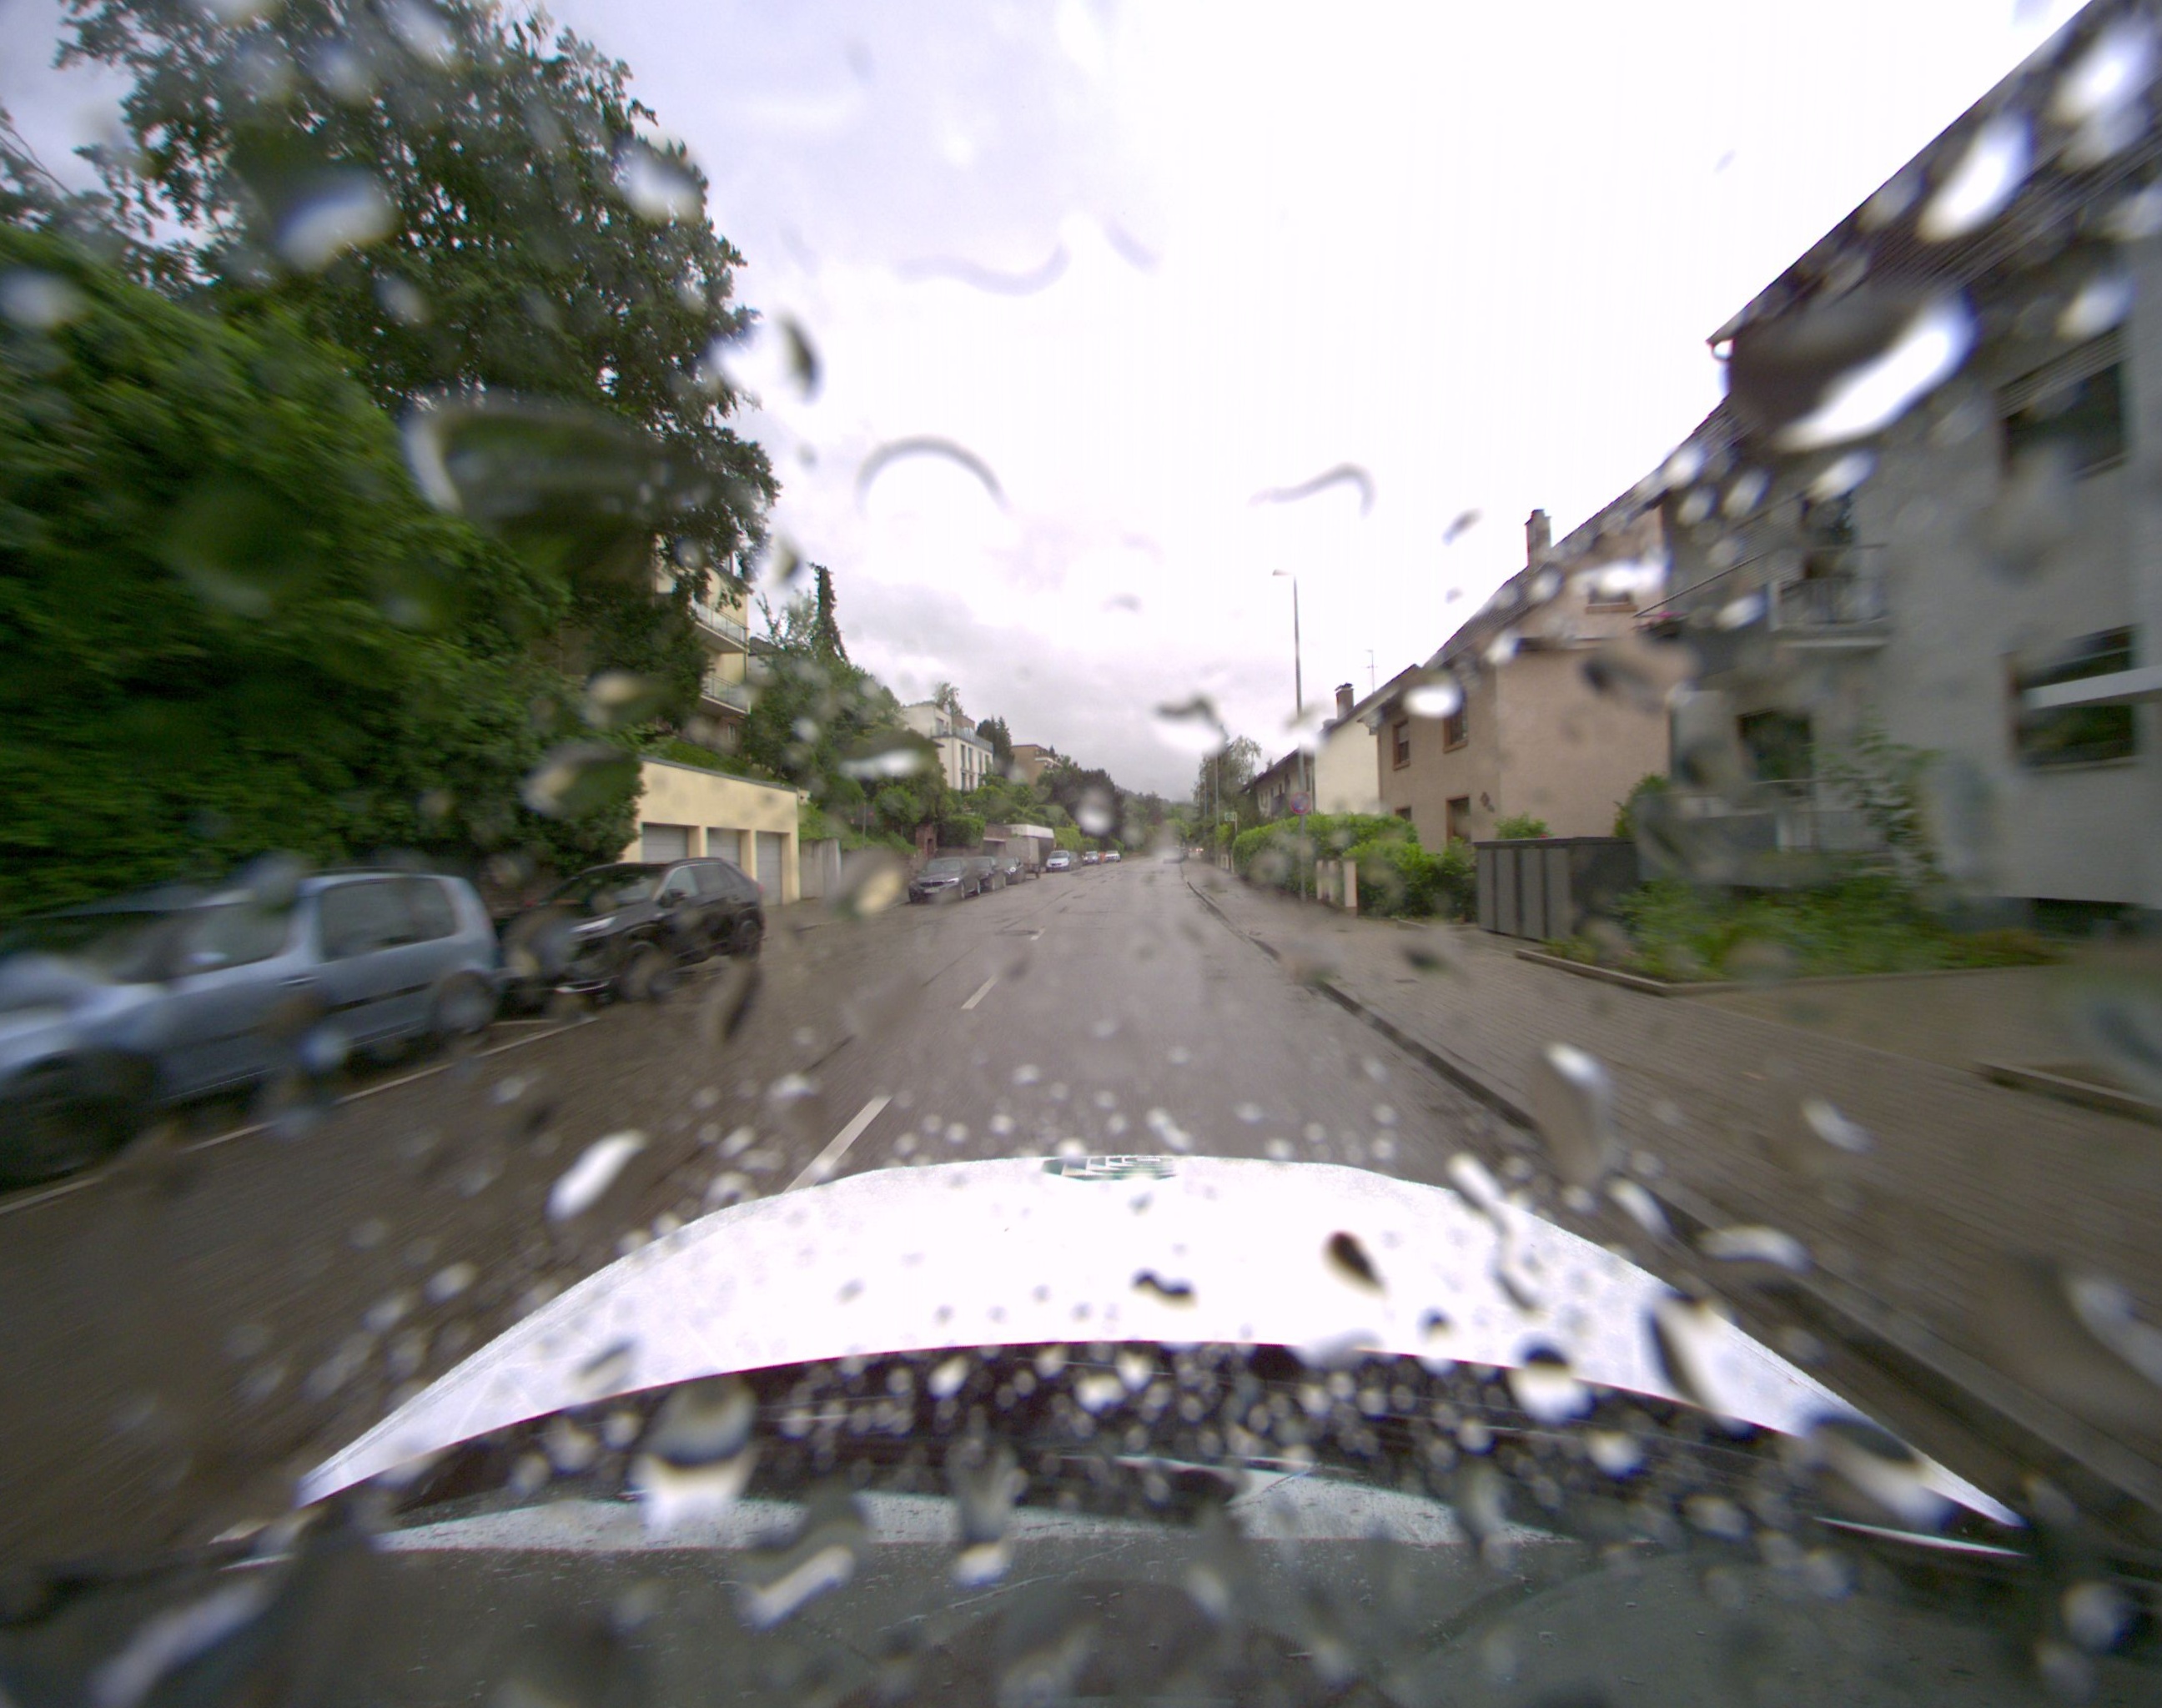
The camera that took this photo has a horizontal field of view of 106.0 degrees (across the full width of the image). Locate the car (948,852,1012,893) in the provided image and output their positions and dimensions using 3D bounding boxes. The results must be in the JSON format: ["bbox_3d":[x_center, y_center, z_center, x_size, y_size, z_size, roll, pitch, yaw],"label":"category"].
[{"bbox_3d":[-4.211,0.724,34.553,1.777,1.415,4.222,-5,1,4],"label":"car"}]

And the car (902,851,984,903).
[{"bbox_3d":[-4.765,0.739,28.828,1.778,1.454,4.759,-6,1,3],"label":"car"}]

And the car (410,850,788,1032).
[{"bbox_3d":[-5.824,0.894,10.728,1.866,1.625,4.597,-6,1,3],"label":"car"}]

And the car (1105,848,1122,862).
[{"bbox_3d":[4.106,0.125,103.214,1.747,1.497,4.228,-4,0,7],"label":"car"}]

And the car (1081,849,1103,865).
[{"bbox_3d":[1.143,0.322,84.232,1.747,1.402,3.776,-6,0,6],"label":"car"}]

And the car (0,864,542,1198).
[{"bbox_3d":[-6.187,0.986,5.705,1.734,1.561,4.114,-5,1,4],"label":"car"}]

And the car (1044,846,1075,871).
[{"bbox_3d":[-1.564,0.308,61.497,1.747,1.539,3.763,-6,1,5],"label":"car"}]

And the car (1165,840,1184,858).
[{"bbox_3d":[10.292,-0.567,89.585,1.774,1.790,4.372,-3,0,9],"label":"car"}]

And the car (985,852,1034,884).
[{"bbox_3d":[-3.556,0.668,41.400,1.800,1.349,3.780,-5,1,4],"label":"car"}]

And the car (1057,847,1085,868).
[{"bbox_3d":[-0.779,0.285,67.086,1.747,1.409,3.711,-6,1,5],"label":"car"}]

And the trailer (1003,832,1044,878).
[{"bbox_3d":[-3.284,0.018,47.088,1.528,2.399,3.080,-5,1,8],"label":"trailer"}]

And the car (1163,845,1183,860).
[{"bbox_3d":[9.482,-0.165,83.756,1.778,1.459,4.320,-3,0,9],"label":"car"}]
